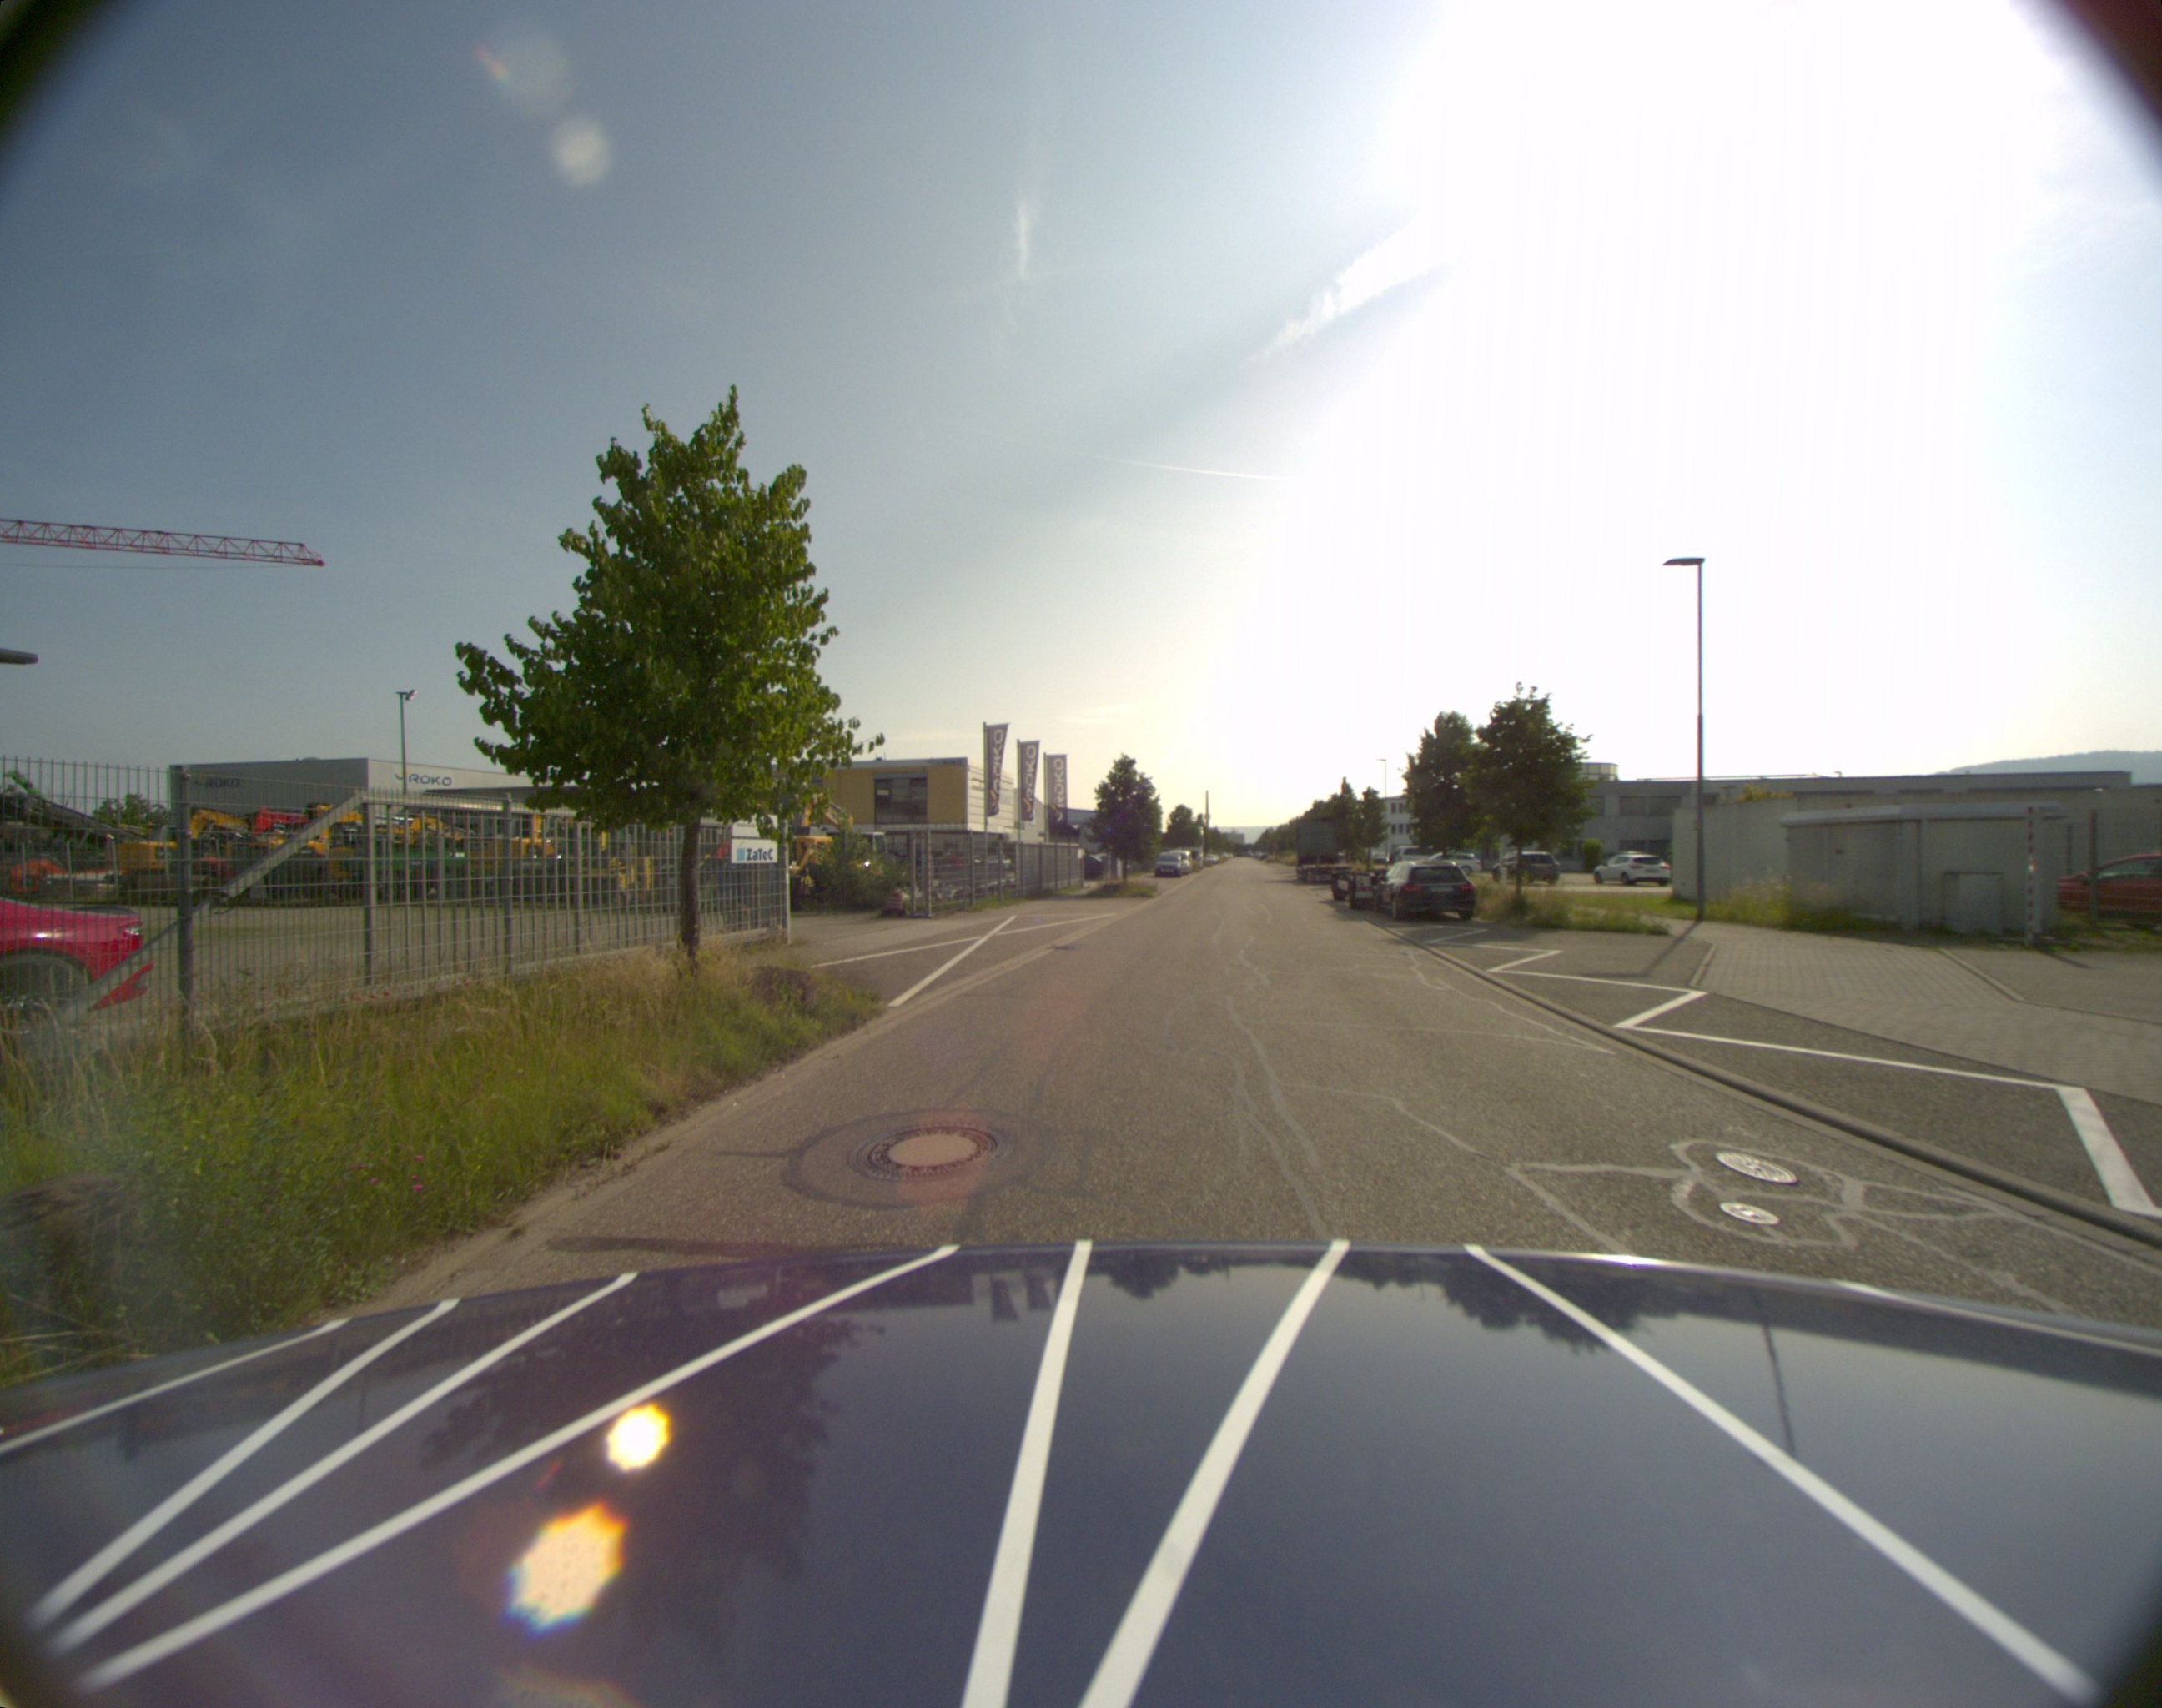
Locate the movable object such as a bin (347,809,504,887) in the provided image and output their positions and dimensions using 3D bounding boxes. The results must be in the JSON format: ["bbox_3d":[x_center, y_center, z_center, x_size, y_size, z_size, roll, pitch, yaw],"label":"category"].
[{"bbox_3d":[-35.056,-0.353,41.000,2.722,3.907,6.026,0,1,8],"label":"movable object such as a bin"}]

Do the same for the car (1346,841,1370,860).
[{"bbox_3d":[31.237,-0.387,85.855,1.884,2.002,4.995,0,0,12],"label":"car"}]

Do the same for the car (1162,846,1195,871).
[{"bbox_3d":[7.460,0.303,57.948,1.996,1.779,4.603,-1,1,13],"label":"car"}]

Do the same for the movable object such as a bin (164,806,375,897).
[{"bbox_3d":[-36.315,-0.158,34.390,2.455,3.759,6.146,0,1,9],"label":"movable object such as a bin"}]

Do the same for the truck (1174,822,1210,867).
[{"bbox_3d":[10.874,-0.930,73.685,2.750,3.992,9.694,2,1,12],"label":"truck"}]

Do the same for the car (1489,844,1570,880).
[{"bbox_3d":[22.431,0.343,38.231,1.997,1.677,4.702,0,1,11],"label":"car"}]

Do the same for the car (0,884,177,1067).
[{"bbox_3d":[-9.425,0.979,4.597,1.884,1.350,4.776,-1,0,9],"label":"car"}]

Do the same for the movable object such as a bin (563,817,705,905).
[{"bbox_3d":[-16.531,0.210,28.419,1.996,3.014,4.496,0,1,13],"label":"movable object such as a bin"}]

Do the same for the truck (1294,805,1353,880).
[{"bbox_3d":[14.195,-0.708,45.005,2.459,3.859,9.810,-2,1,13],"label":"truck"}]

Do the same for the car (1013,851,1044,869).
[{"bbox_3d":[-4.677,0.526,68.242,1.893,1.547,4.373,-1,0,7],"label":"car"}]

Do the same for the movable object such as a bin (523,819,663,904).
[{"bbox_3d":[-18.701,0.246,29.399,1.996,3.014,4.377,0,1,13],"label":"movable object such as a bin"}]

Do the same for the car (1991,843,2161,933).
[{"bbox_3d":[19.212,0.567,13.274,1.774,1.516,4.307,-1,-1,7],"label":"car"}]

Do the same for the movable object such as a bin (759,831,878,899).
[{"bbox_3d":[-10.138,0.386,29.843,1.995,2.444,4.769,0,1,16],"label":"movable object such as a bin"}]

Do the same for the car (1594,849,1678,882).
[{"bbox_3d":[27.215,0.504,37.427,1.708,1.507,4.216,0,1,11],"label":"car"}]

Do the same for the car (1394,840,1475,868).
[{"bbox_3d":[24.293,0.008,52.375,4.711,1.825,2.105,-1,1,12],"label":"car"}]

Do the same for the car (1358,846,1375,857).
[{"bbox_3d":[40.183,-0.327,107.016,1.757,1.459,3.922,-1,0,13],"label":"car"}]

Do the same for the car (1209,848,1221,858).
[{"bbox_3d":[21.707,-0.202,123.142,1.692,1.495,3.544,1,1,12],"label":"car"}]

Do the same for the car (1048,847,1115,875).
[{"bbox_3d":[0.068,0.465,49.804,4.233,1.727,1.900,-1,1,5],"label":"car"}]

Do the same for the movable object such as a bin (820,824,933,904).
[{"bbox_3d":[-7.514,0.324,28.567,1.889,2.736,5.164,0,1,13],"label":"movable object such as a bin"}]

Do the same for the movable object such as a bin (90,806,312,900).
[{"bbox_3d":[-39.676,-0.086,34.625,2.455,3.907,6.146,0,1,9],"label":"movable object such as a bin"}]

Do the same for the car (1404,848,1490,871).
[{"bbox_3d":[23.825,0.353,49.659,4.734,1.423,2.002,-1,1,12],"label":"car"}]

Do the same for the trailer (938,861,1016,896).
[{"bbox_3d":[-4.226,0.969,31.607,1.947,1.236,4.297,0,1,11],"label":"trailer"}]

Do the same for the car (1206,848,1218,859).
[{"bbox_3d":[19.836,-0.100,115.110,1.667,1.495,3.544,1,1,12],"label":"car"}]

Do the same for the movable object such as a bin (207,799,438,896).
[{"bbox_3d":[-33.558,-0.323,34.129,2.470,3.907,7.206,0,1,9],"label":"movable object such as a bin"}]

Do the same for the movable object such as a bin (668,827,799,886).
[{"bbox_3d":[-16.944,0.100,37.623,2.704,2.700,6.354,0,0,11],"label":"movable object such as a bin"}]

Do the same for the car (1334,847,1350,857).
[{"bbox_3d":[37.044,-0.315,107.776,1.757,1.401,3.922,-1,0,13],"label":"car"}]

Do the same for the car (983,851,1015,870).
[{"bbox_3d":[-7.448,0.539,69.341,1.893,1.681,4.373,-1,0,7],"label":"car"}]

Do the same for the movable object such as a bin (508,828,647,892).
[{"bbox_3d":[-23.519,0.245,35.864,2.057,2.753,5.695,0,0,11],"label":"movable object such as a bin"}]

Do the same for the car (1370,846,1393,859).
[{"bbox_3d":[37.322,-0.214,94.447,1.945,1.597,4.513,-1,0,12],"label":"car"}]

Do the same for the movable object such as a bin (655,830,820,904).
[{"bbox_3d":[-12.527,0.402,28.247,2.927,2.477,5.343,0,1,13],"label":"movable object such as a bin"}]

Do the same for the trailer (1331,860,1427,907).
[{"bbox_3d":[9.780,0.894,25.569,2.133,1.225,7.165,-2,0,15],"label":"trailer"}]

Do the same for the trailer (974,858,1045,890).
[{"bbox_3d":[-3.346,0.916,36.432,1.996,1.303,4.567,-1,1,13],"label":"trailer"}]

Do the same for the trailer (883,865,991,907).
[{"bbox_3d":[-4.945,1.078,26.940,2.129,1.236,4.799,0,1,11],"label":"trailer"}]

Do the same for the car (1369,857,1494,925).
[{"bbox_3d":[8.843,0.867,19.569,1.997,1.458,4.436,-2,0,13],"label":"car"}]

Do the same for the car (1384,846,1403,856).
[{"bbox_3d":[43.676,-0.425,106.215,1.757,1.459,3.922,-1,0,13],"label":"car"}]

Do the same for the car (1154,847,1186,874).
[{"bbox_3d":[6.233,0.436,52.970,1.829,1.710,4.251,-1,1,11],"label":"car"}]

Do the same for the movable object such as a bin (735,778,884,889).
[{"bbox_3d":[-12.859,-0.881,36.939,3.321,4.778,7.679,0,0,11],"label":"movable object such as a bin"}]

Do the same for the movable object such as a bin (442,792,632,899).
[{"bbox_3d":[-21.381,-0.326,30.291,2.688,3.851,5.723,0,1,13],"label":"movable object such as a bin"}]
